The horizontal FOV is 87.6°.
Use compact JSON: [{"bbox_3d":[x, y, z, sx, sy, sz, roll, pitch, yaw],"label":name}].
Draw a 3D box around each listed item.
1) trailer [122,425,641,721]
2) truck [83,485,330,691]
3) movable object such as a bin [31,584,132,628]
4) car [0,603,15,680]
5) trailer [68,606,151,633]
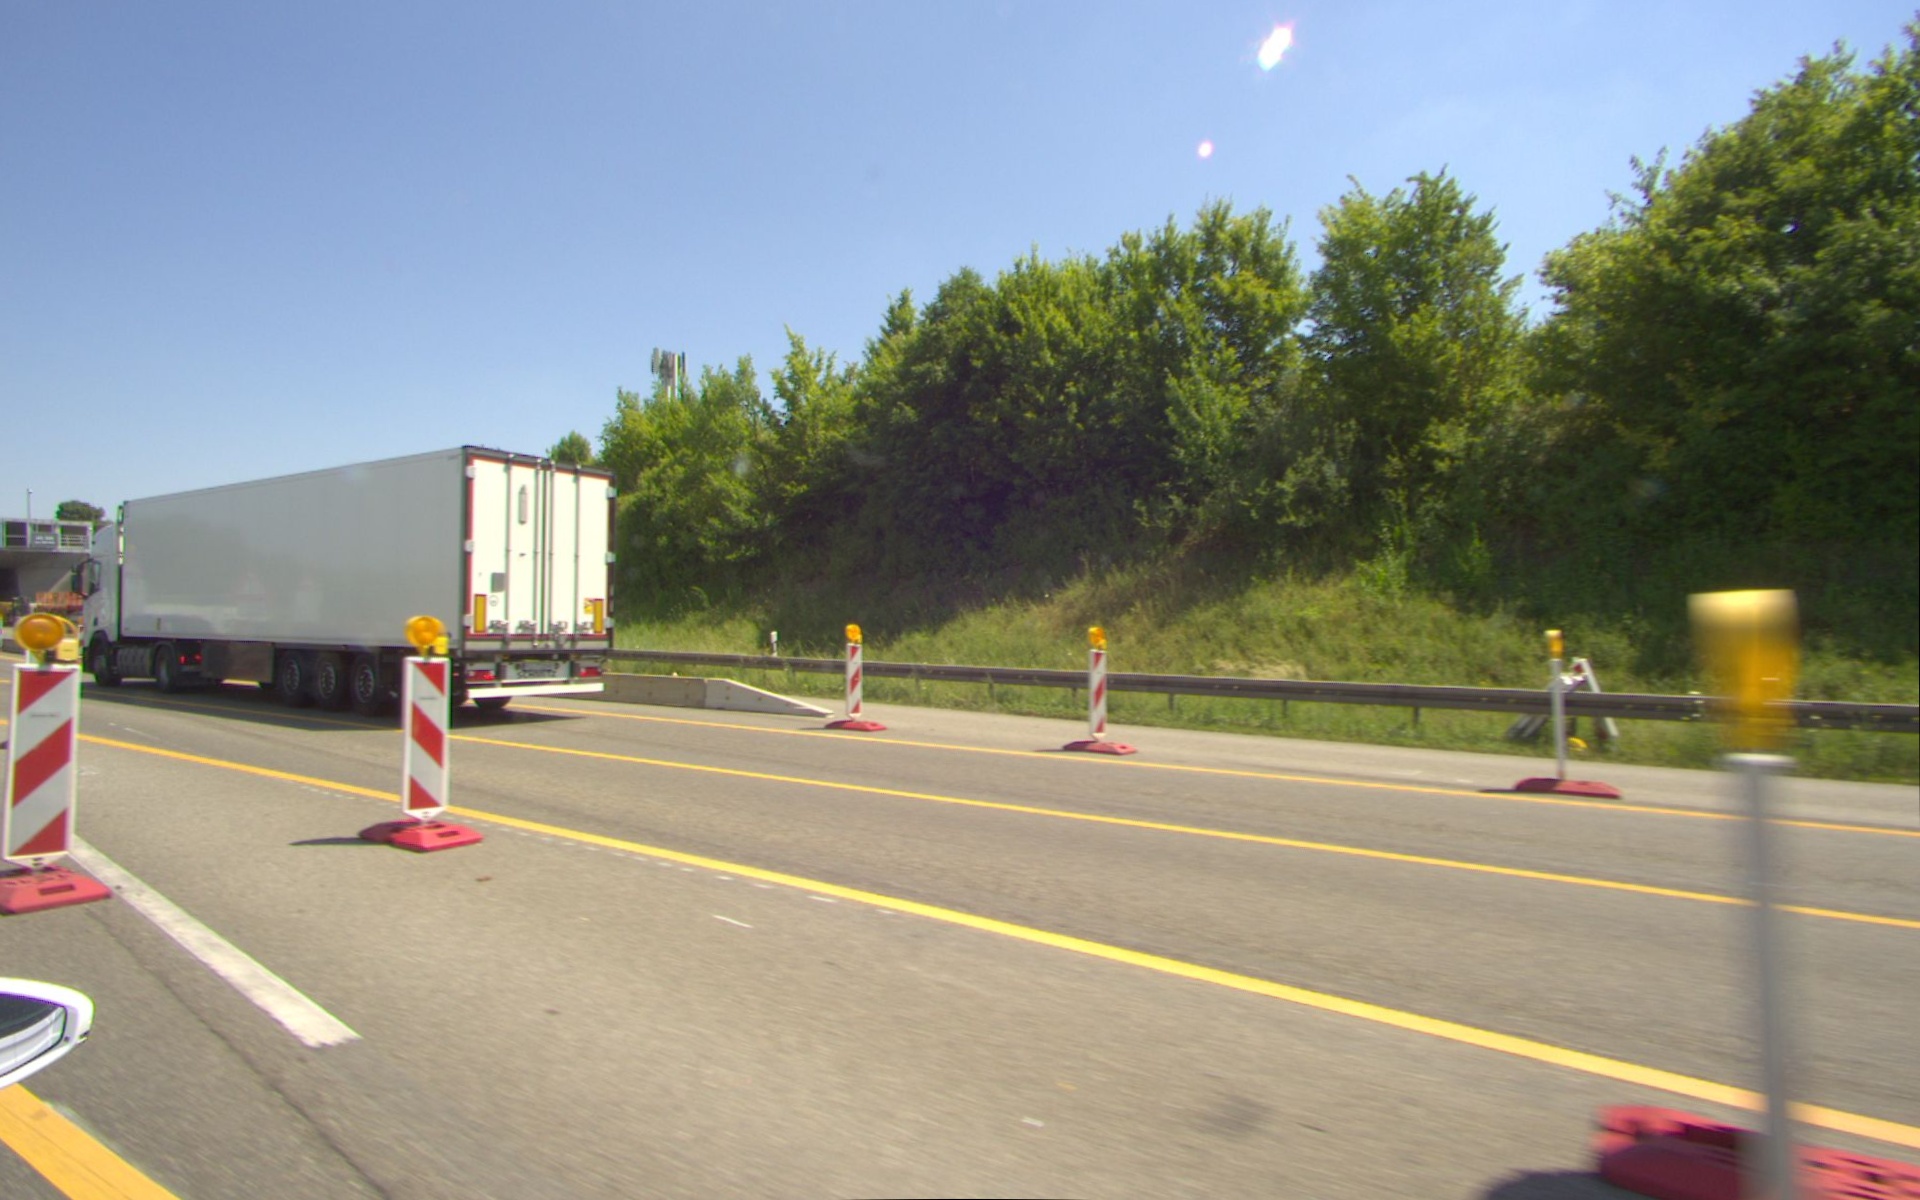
[{"bbox_3d":[-11.662,-0.272,18.953,13.901,4.114,2.726,-1,-1,34],"label":"trailer"},{"bbox_3d":[-17.131,-0.172,22.679,5.845,4.085,2.738,0,-1,34],"label":"truck"},{"bbox_3d":[-65.911,0.466,74.913,14.519,3.051,3.098,-1,1,39],"label":"movable object such as a bin"},{"bbox_3d":[-22.894,0.906,22.395,4.134,1.651,1.810,-1,-1,36],"label":"car"},{"bbox_3d":[-55.294,1.240,65.059,6.150,1.590,2.587,0,1,35],"label":"trailer"}]
